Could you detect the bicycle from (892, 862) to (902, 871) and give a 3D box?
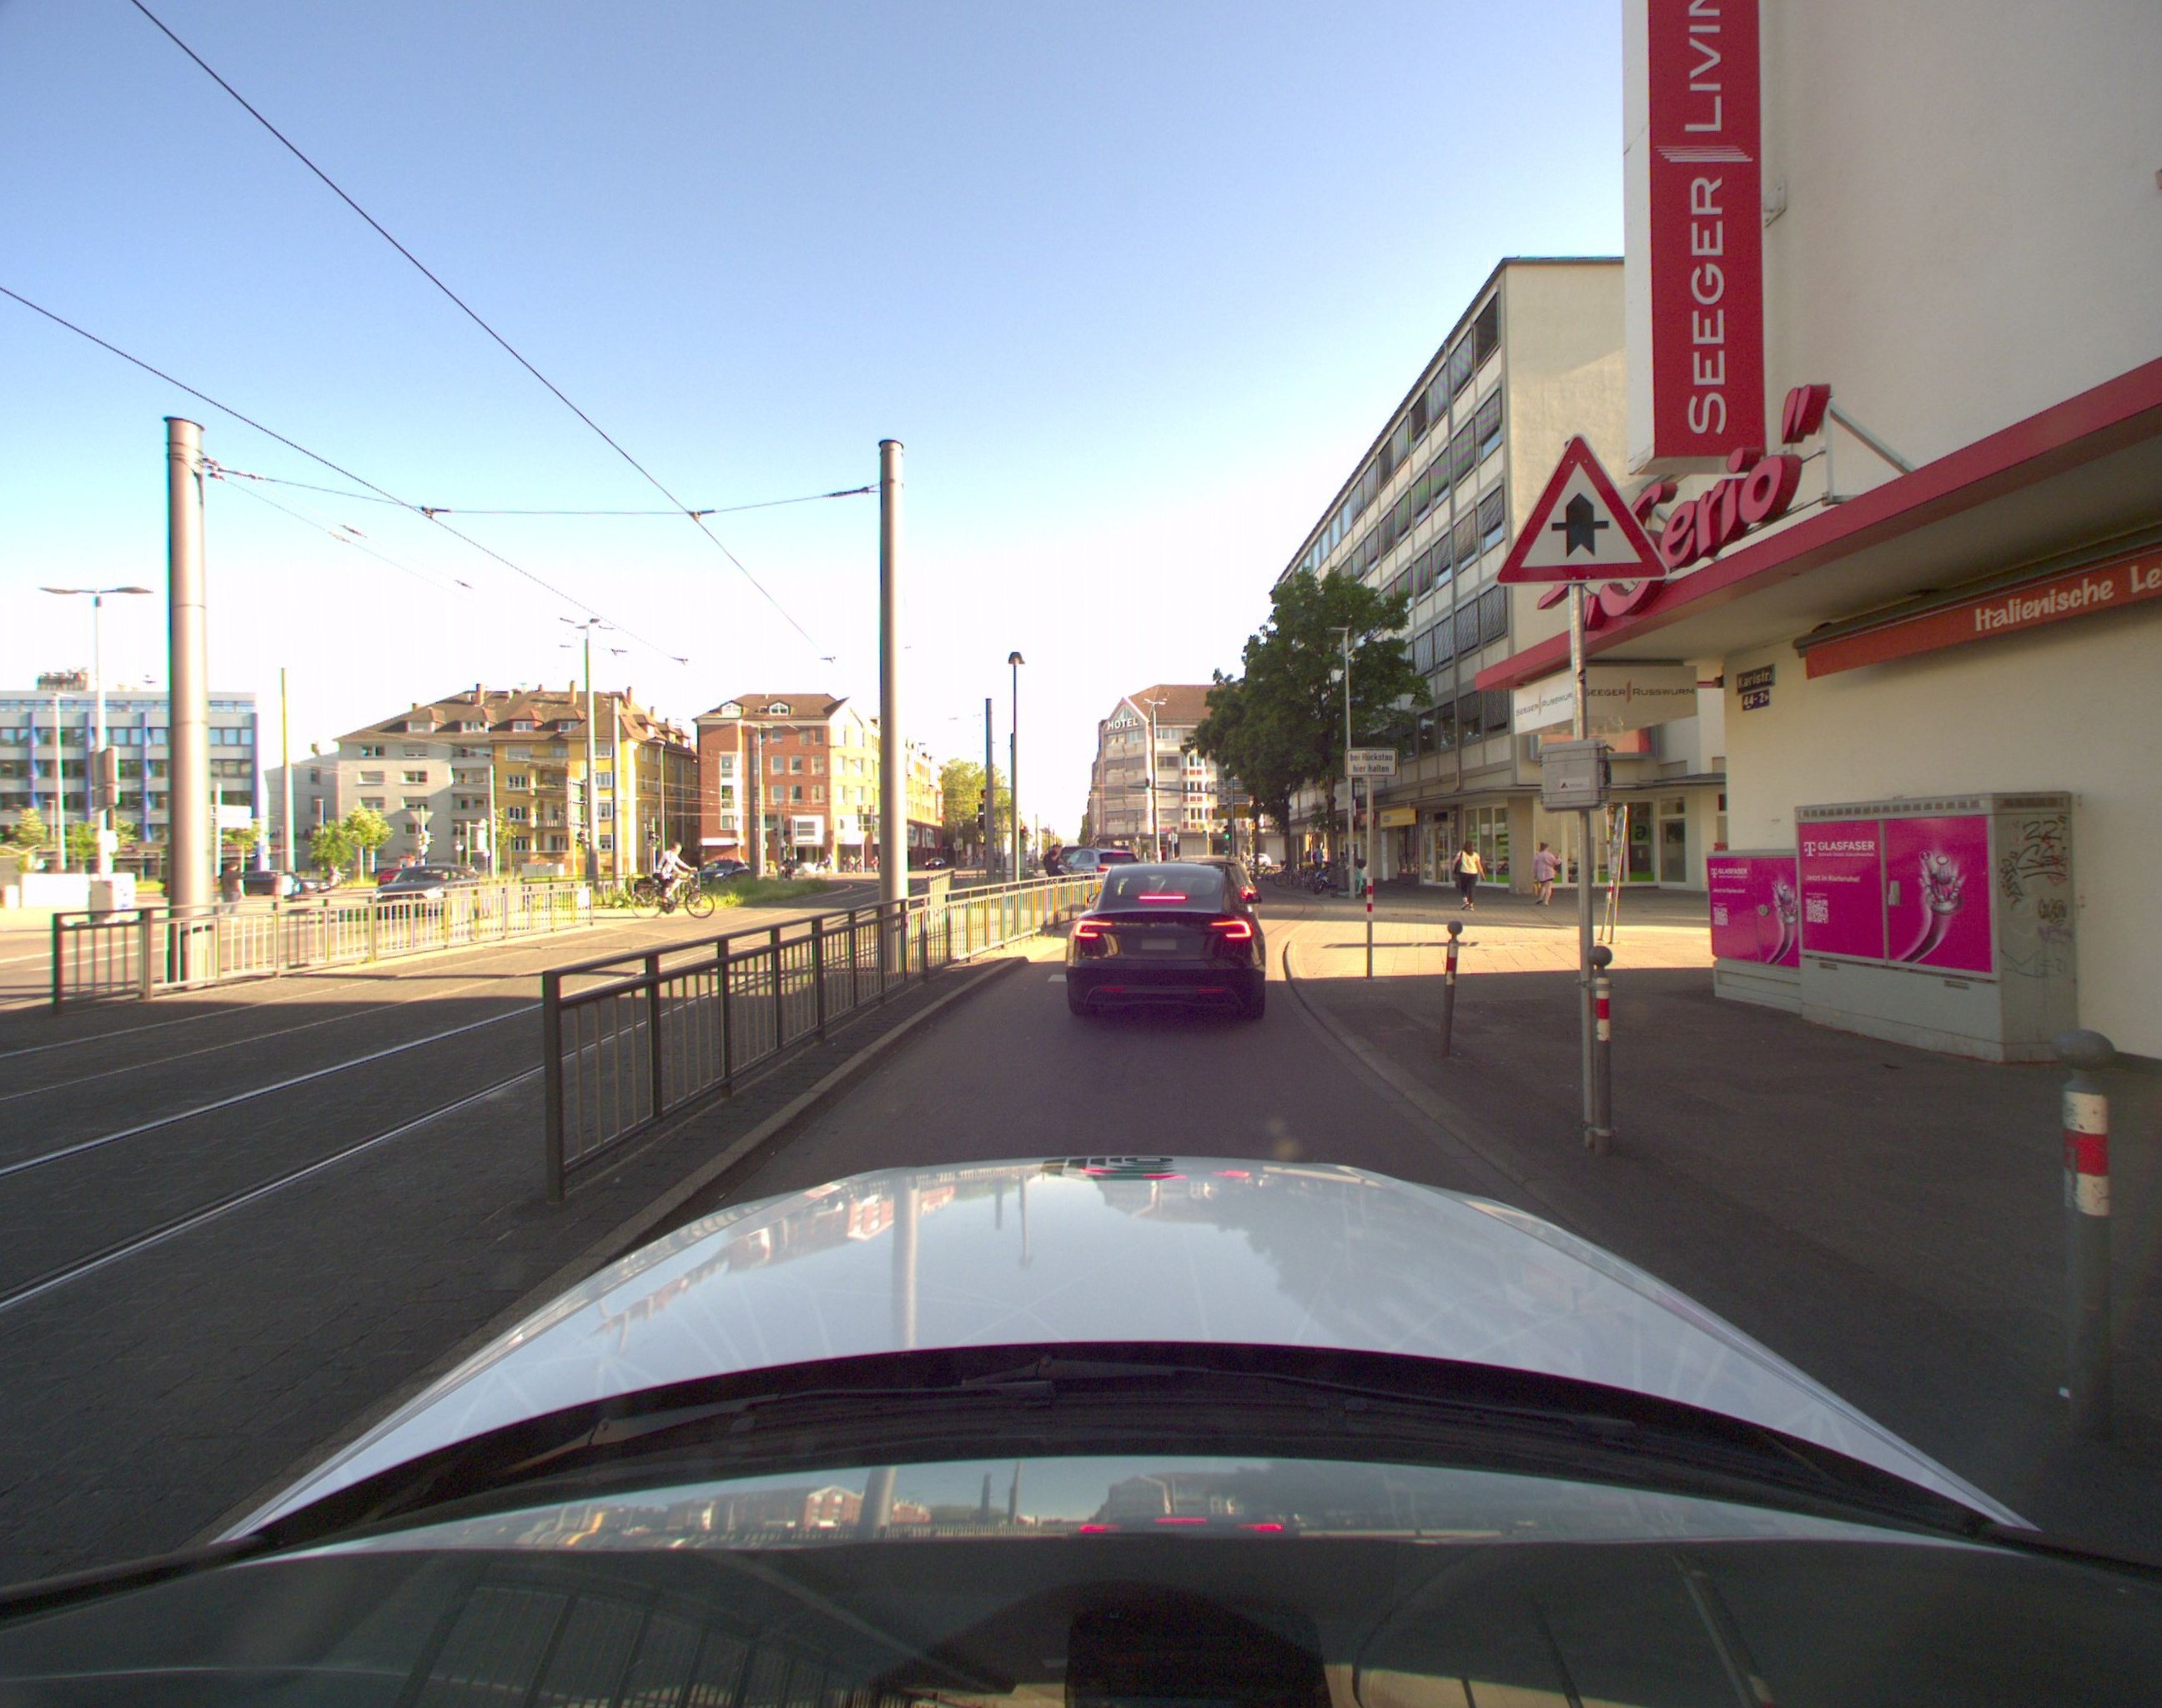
[{"bbox_3d":[-21.738,1.472,96.049,0.527,1.088,2.227,0,-1,4],"label":"bicycle"}]

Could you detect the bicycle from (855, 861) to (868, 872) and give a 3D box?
[{"bbox_3d":[-22.334,1.270,82.782,0.527,1.088,2.286,0,-1,4],"label":"bicycle"}]

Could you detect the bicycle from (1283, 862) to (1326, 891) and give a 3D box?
[{"bbox_3d":[8.726,0.859,31.799,1.649,1.099,0.349,0,-1,-9],"label":"bicycle"}]

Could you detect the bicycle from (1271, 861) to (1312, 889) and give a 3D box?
[{"bbox_3d":[8.612,0.847,33.330,1.649,1.099,0.349,0,-1,-9],"label":"bicycle"}]

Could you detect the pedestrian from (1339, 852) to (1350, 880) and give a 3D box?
[{"bbox_3d":[12.907,0.587,39.920,0.388,1.343,0.513,0,-1,4],"label":"pedestrian"}]

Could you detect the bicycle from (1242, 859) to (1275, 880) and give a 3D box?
[{"bbox_3d":[9.239,0.790,42.404,1.643,1.099,0.350,0,-1,3],"label":"bicycle"}]

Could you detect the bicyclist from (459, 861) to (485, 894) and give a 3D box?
[{"bbox_3d":[-34.434,1.329,46.024,0.901,1.808,0.788,0,-1,-11],"label":"bicyclist"}]

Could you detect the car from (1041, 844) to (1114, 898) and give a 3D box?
[{"bbox_3d":[-0.219,0.664,32.775,1.997,2.014,3.980,-1,0,-15],"label":"car"}]

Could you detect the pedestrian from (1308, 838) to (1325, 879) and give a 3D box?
[{"bbox_3d":[11.746,0.219,40.641,0.659,2.014,0.580,0,-1,4],"label":"pedestrian"}]

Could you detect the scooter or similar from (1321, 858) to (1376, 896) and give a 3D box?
[{"bbox_3d":[8.894,0.764,27.110,1.625,1.215,0.649,-1,-1,32],"label":"scooter or similar"}]

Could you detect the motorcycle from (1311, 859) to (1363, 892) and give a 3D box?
[{"bbox_3d":[9.140,0.768,29.127,1.701,1.173,0.541,0,-1,0],"label":"motorcycle"}]

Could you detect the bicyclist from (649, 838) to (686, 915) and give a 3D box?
[{"bbox_3d":[-9.711,0.514,19.126,0.755,1.759,0.751,0,-1,-30],"label":"bicyclist"}]

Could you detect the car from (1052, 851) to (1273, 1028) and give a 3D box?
[{"bbox_3d":[0.903,0.724,8.777,1.820,1.455,4.007,0,-1,7],"label":"car"}]

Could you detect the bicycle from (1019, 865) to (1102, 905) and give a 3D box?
[{"bbox_3d":[-0.545,0.831,22.593,2.346,1.053,0.624,0,-1,-36],"label":"bicycle"}]

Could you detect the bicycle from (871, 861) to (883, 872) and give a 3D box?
[{"bbox_3d":[-21.011,1.233,84.085,0.527,1.088,2.227,-1,0,4],"label":"bicycle"}]

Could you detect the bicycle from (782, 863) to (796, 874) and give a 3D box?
[{"bbox_3d":[-26.835,1.355,74.935,0.402,0.981,1.699,-1,-1,10],"label":"bicycle"}]

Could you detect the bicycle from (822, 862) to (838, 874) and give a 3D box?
[{"bbox_3d":[-22.693,1.275,73.645,0.535,1.088,2.227,0,-1,4],"label":"bicycle"}]

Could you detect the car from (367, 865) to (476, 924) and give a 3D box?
[{"bbox_3d":[-18.793,1.074,23.383,1.649,1.526,3.831,0,-1,-27],"label":"car"}]

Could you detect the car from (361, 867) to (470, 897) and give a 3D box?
[{"bbox_3d":[-39.449,1.650,48.384,4.585,1.700,1.993,0,-1,-10],"label":"car"}]

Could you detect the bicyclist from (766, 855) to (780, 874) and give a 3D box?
[{"bbox_3d":[-25.915,0.882,68.524,0.895,1.503,0.696,0,-1,1],"label":"bicyclist"}]

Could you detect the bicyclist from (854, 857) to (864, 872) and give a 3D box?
[{"bbox_3d":[-22.441,1.046,82.280,0.780,1.563,0.747,-1,0,3],"label":"bicyclist"}]

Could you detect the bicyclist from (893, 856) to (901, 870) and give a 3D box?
[{"bbox_3d":[-21.732,1.044,96.058,0.780,1.563,0.747,0,-1,3],"label":"bicyclist"}]

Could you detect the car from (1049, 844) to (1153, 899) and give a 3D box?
[{"bbox_3d":[0.557,0.540,26.601,1.891,1.662,4.126,0,-1,-23],"label":"car"}]

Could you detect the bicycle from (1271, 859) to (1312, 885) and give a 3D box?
[{"bbox_3d":[9.113,0.766,35.269,1.643,1.099,0.350,0,-1,3],"label":"bicycle"}]

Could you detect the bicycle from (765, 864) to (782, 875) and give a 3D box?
[{"bbox_3d":[-25.924,1.294,68.691,0.522,0.972,2.247,0,-1,2],"label":"bicycle"}]

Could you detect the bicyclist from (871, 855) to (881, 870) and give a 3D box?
[{"bbox_3d":[-21.112,0.894,83.734,0.780,1.563,0.747,-1,0,3],"label":"bicyclist"}]

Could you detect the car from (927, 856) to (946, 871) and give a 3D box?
[{"bbox_3d":[-17.554,1.172,99.025,1.692,1.731,3.706,0,-1,0],"label":"car"}]

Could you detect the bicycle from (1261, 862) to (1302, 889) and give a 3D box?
[{"bbox_3d":[8.434,0.912,34.214,1.649,1.099,0.349,0,-1,-9],"label":"bicycle"}]

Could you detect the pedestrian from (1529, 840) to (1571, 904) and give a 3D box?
[{"bbox_3d":[12.453,0.471,21.653,0.881,1.667,0.813,-1,-1,25],"label":"pedestrian"}]

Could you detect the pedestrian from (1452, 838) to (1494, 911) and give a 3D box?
[{"bbox_3d":[9.718,0.504,20.228,0.906,1.752,1.044,-1,-1,25],"label":"pedestrian"}]

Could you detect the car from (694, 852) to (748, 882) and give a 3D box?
[{"bbox_3d":[-18.929,0.668,42.936,1.711,1.527,4.021,0,-1,-11],"label":"car"}]

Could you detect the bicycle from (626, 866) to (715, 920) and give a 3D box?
[{"bbox_3d":[-9.643,0.895,19.155,1.861,1.222,0.481,0,-1,-31],"label":"bicycle"}]

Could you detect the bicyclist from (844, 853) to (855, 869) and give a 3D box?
[{"bbox_3d":[-22.533,0.688,79.355,0.780,1.563,0.747,-1,0,3],"label":"bicyclist"}]

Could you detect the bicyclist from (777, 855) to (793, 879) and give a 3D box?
[{"bbox_3d":[-19.514,0.856,53.711,0.781,1.527,0.590,0,-1,6],"label":"bicyclist"}]

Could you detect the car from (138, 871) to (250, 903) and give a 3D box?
[{"bbox_3d":[-50.622,1.874,46.570,3.952,1.685,1.903,0,-1,-11],"label":"car"}]

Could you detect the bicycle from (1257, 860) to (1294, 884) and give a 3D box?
[{"bbox_3d":[9.135,0.836,38.223,1.643,1.099,0.350,0,-1,3],"label":"bicycle"}]

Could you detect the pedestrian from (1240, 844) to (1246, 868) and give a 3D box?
[{"bbox_3d":[11.951,0.149,60.036,0.400,1.710,0.529,-1,-1,9],"label":"pedestrian"}]

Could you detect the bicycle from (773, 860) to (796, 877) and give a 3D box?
[{"bbox_3d":[-19.519,0.950,53.635,0.456,1.093,2.205,0,-1,6],"label":"bicycle"}]

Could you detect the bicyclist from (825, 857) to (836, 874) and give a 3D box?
[{"bbox_3d":[-22.666,1.041,73.679,0.780,1.563,0.747,0,-1,3],"label":"bicyclist"}]

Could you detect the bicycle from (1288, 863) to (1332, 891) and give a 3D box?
[{"bbox_3d":[8.813,0.866,31.373,1.649,1.061,0.349,0,-1,-9],"label":"bicycle"}]

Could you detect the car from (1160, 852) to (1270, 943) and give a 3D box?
[{"bbox_3d":[2.450,0.704,15.120,1.741,1.454,4.009,-1,0,8],"label":"car"}]

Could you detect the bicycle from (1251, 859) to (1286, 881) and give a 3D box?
[{"bbox_3d":[9.276,0.798,40.261,1.643,1.099,0.350,0,-1,3],"label":"bicycle"}]

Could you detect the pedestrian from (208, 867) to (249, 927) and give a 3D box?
[{"bbox_3d":[-24.267,1.204,23.187,0.585,1.681,0.779,-1,-1,44],"label":"pedestrian"}]

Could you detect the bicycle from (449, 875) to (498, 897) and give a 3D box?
[{"bbox_3d":[-34.316,1.808,46.051,2.188,1.214,0.544,0,-1,-11],"label":"bicycle"}]

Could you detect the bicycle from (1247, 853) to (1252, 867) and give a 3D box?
[{"bbox_3d":[12.360,0.444,59.594,0.330,1.034,1.260,-1,-1,11],"label":"bicycle"}]

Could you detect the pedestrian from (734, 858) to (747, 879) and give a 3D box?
[{"bbox_3d":[-28.636,1.213,68.518,0.780,1.820,0.747,0,-1,3],"label":"pedestrian"}]

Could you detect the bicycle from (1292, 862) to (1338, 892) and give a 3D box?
[{"bbox_3d":[8.891,0.860,30.949,1.649,1.099,0.349,0,-1,-9],"label":"bicycle"}]

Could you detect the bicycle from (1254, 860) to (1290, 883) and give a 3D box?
[{"bbox_3d":[9.200,0.841,39.249,1.643,1.099,0.350,0,-1,3],"label":"bicycle"}]

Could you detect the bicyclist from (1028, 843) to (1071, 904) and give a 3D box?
[{"bbox_3d":[-0.865,0.524,22.307,0.763,1.628,0.967,0,-1,-37],"label":"bicyclist"}]

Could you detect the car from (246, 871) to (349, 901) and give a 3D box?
[{"bbox_3d":[-45.499,1.835,47.387,3.984,1.672,1.772,0,-1,-8],"label":"car"}]

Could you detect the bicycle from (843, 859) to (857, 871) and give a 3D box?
[{"bbox_3d":[-22.462,1.064,79.278,0.527,1.088,2.286,-1,0,4],"label":"bicycle"}]

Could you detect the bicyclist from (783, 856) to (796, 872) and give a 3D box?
[{"bbox_3d":[-26.826,0.935,74.916,0.699,1.471,0.975,-1,0,9],"label":"bicyclist"}]

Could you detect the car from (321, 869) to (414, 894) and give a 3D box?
[{"bbox_3d":[-44.709,1.712,51.098,3.990,1.483,1.786,0,-1,-12],"label":"car"}]

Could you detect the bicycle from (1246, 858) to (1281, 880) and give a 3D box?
[{"bbox_3d":[9.258,0.760,41.309,1.643,1.099,0.350,-1,0,3],"label":"bicycle"}]

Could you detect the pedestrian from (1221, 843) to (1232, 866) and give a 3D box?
[{"bbox_3d":[10.680,0.051,59.903,0.697,1.662,0.777,0,-1,1],"label":"pedestrian"}]
